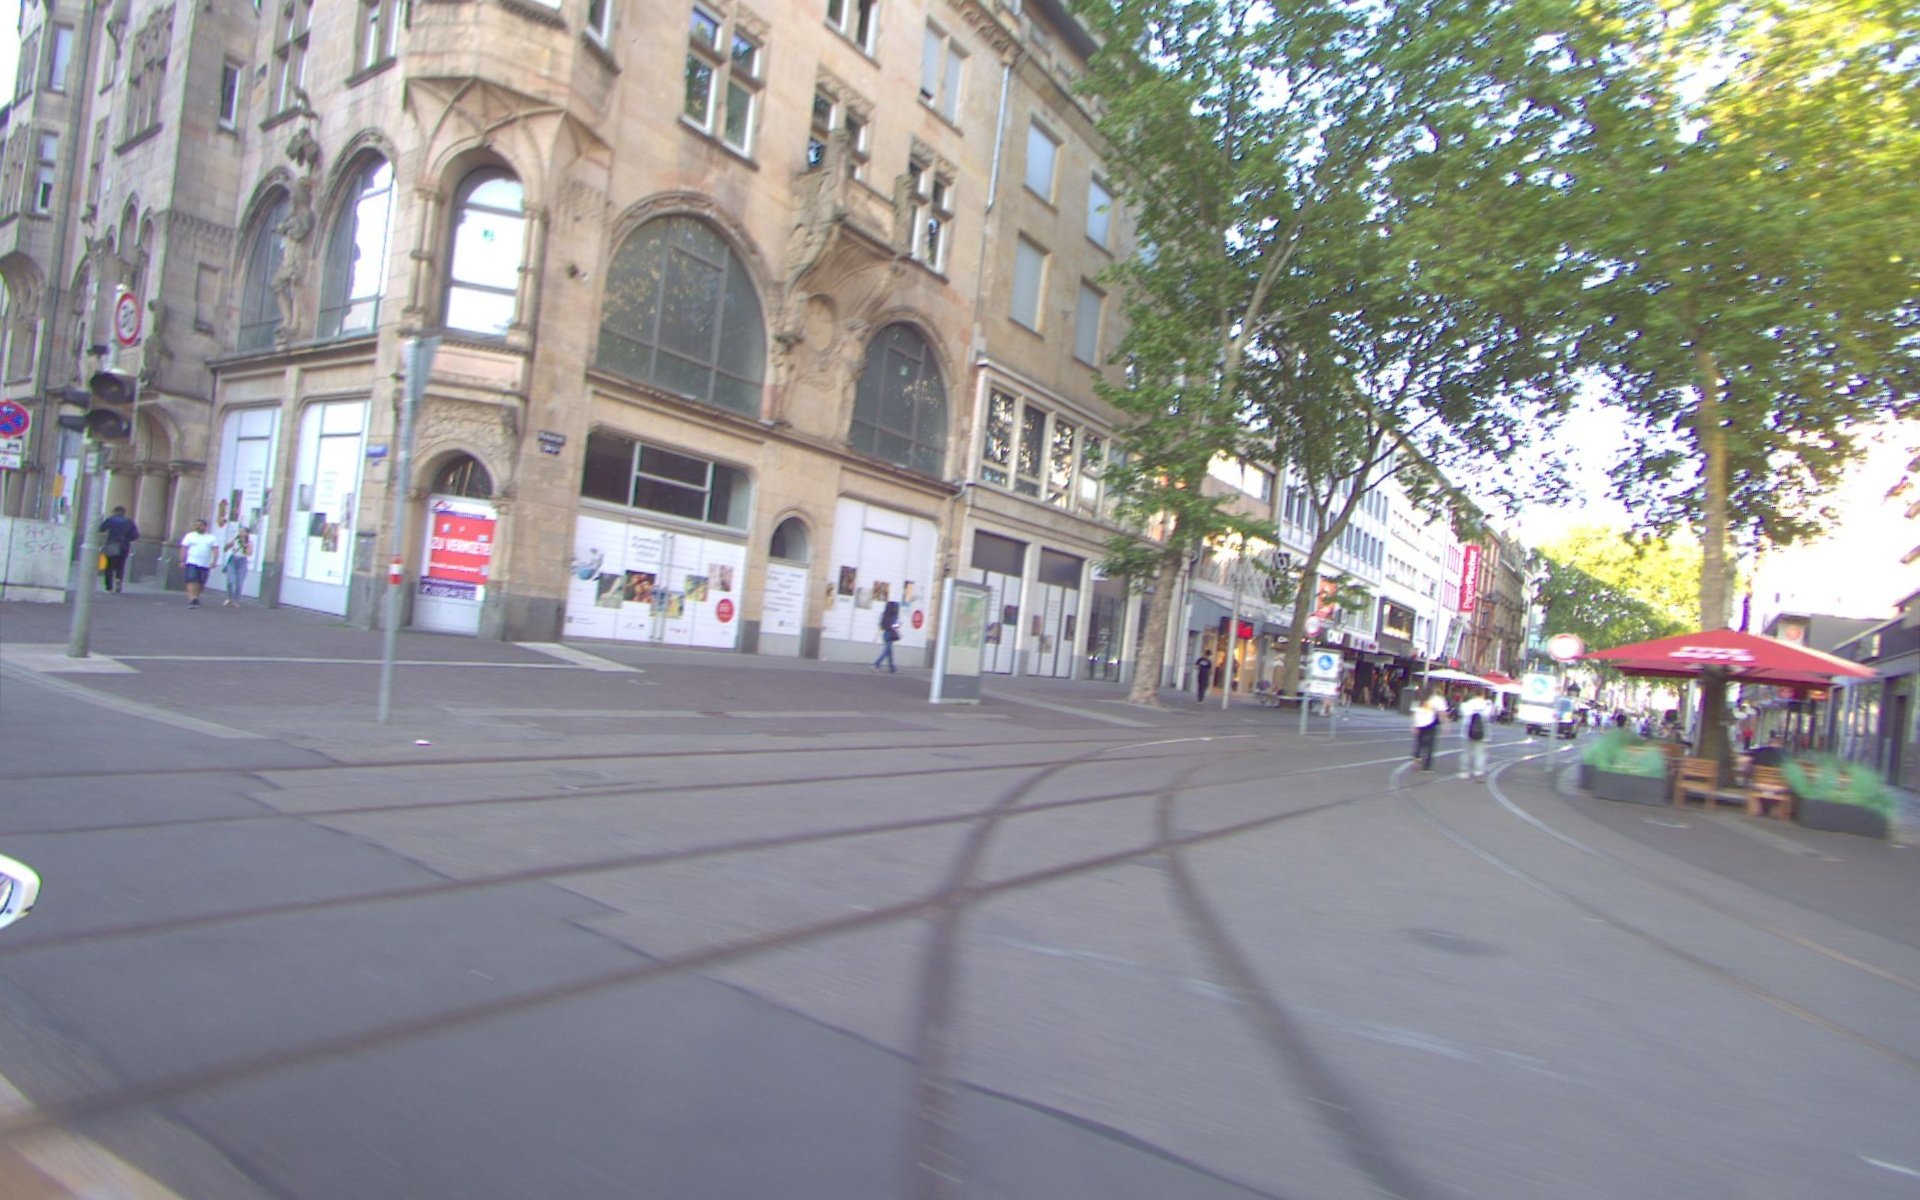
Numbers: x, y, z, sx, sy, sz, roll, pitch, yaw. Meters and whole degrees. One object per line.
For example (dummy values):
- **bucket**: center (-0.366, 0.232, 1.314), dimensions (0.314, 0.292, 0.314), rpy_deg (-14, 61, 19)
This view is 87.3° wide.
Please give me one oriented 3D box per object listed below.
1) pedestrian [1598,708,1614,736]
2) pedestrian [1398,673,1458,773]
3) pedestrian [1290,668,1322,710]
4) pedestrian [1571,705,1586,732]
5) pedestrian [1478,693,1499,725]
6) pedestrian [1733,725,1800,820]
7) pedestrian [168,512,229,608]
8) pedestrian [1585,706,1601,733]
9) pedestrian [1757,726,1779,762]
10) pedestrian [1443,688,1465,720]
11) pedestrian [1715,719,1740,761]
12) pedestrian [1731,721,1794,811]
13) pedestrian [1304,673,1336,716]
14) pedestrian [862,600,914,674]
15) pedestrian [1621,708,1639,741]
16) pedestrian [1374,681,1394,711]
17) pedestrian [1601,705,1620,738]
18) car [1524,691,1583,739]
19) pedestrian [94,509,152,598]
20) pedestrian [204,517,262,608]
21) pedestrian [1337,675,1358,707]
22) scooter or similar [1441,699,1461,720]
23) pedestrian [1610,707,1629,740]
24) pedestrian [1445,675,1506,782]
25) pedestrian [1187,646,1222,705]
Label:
- **pedestrian**: center (43.870, 8.281, 68.282), dimensions (0.748, 1.747, 0.662), rpy_deg (6, -2, 35)
- **pedestrian**: center (8.527, 2.235, 18.321), dimensions (0.715, 1.680, 0.777), rpy_deg (6, -2, 35)
- **pedestrian**: center (12.756, 3.284, 37.083), dimensions (0.771, 1.431, 0.777), rpy_deg (6, -2, 35)
- **pedestrian**: center (42.699, 8.157, 69.453), dimensions (0.748, 1.747, 0.662), rpy_deg (6, -2, 35)
- **pedestrian**: center (29.035, 5.975, 55.290), dimensions (0.820, 1.629, 0.662), rpy_deg (6, -2, 36)
- **pedestrian**: center (12.899, 2.738, 16.107), dimensions (0.680, 1.385, 0.777), rpy_deg (6, -2, 35)
- **pedestrian**: center (-14.465, -0.757, 19.110), dimensions (0.660, 1.710, 0.625), rpy_deg (6, 0, 34)
- **pedestrian**: center (43.209, 8.171, 68.702), dimensions (0.748, 1.747, 0.662), rpy_deg (6, -2, 35)
- **pedestrian**: center (39.307, 6.988, 48.922), dimensions (0.652, 1.629, 0.662), rpy_deg (6, -2, 35)
- **pedestrian**: center (26.571, 5.591, 54.110), dimensions (0.820, 1.629, 0.662), rpy_deg (6, -2, 36)
- **pedestrian**: center (31.564, 5.753, 41.401), dimensions (0.652, 1.629, 0.662), rpy_deg (6, -2, 35)
- **pedestrian**: center (13.542, 2.794, 16.992), dimensions (0.680, 1.385, 0.643), rpy_deg (6, -2, 35)
- **pedestrian**: center (12.753, 3.351, 35.651), dimensions (0.766, 1.431, 0.781), rpy_deg (6, -2, 35)
- **pedestrian**: center (-1.702, 0.886, 23.815), dimensions (0.702, 1.629, 0.820), rpy_deg (6, -2, 35)
- **pedestrian**: center (34.737, 6.437, 52.149), dimensions (0.652, 1.629, 0.662), rpy_deg (6, -2, 35)
- **pedestrian**: center (24.984, 5.654, 59.322), dimensions (0.820, 1.629, 0.662), rpy_deg (6, -2, 36)
- **pedestrian**: center (34.054, 6.361, 52.657), dimensions (0.652, 1.629, 0.662), rpy_deg (6, -2, 35)
- **car**: center (29.219, 5.680, 49.486), dimensions (1.970, 2.036, 4.285), rpy_deg (6, -3, 36)
- **pedestrian**: center (-17.072, -0.946, 20.516), dimensions (0.660, 1.710, 0.625), rpy_deg (6, 0, 34)
- **pedestrian**: center (-14.382, -0.734, 19.907), dimensions (0.616, 1.710, 0.625), rpy_deg (6, 0, 34)
- **pedestrian**: center (21.230, 4.962, 55.116), dimensions (0.820, 1.629, 0.662), rpy_deg (6, -2, 36)
- **scooter or similar**: center (26.186, 5.834, 53.610), dimensions (0.773, 0.980, 0.663), rpy_deg (6, -2, 36)
- **pedestrian**: center (33.987, 6.361, 51.819), dimensions (0.652, 1.629, 0.662), rpy_deg (6, -2, 35)
- **pedestrian**: center (9.102, 2.261, 17.757), dimensions (0.702, 1.754, 0.777), rpy_deg (6, -2, 35)
- **pedestrian**: center (8.106, 2.511, 33.302), dimensions (0.702, 1.844, 0.777), rpy_deg (6, -2, 35)
